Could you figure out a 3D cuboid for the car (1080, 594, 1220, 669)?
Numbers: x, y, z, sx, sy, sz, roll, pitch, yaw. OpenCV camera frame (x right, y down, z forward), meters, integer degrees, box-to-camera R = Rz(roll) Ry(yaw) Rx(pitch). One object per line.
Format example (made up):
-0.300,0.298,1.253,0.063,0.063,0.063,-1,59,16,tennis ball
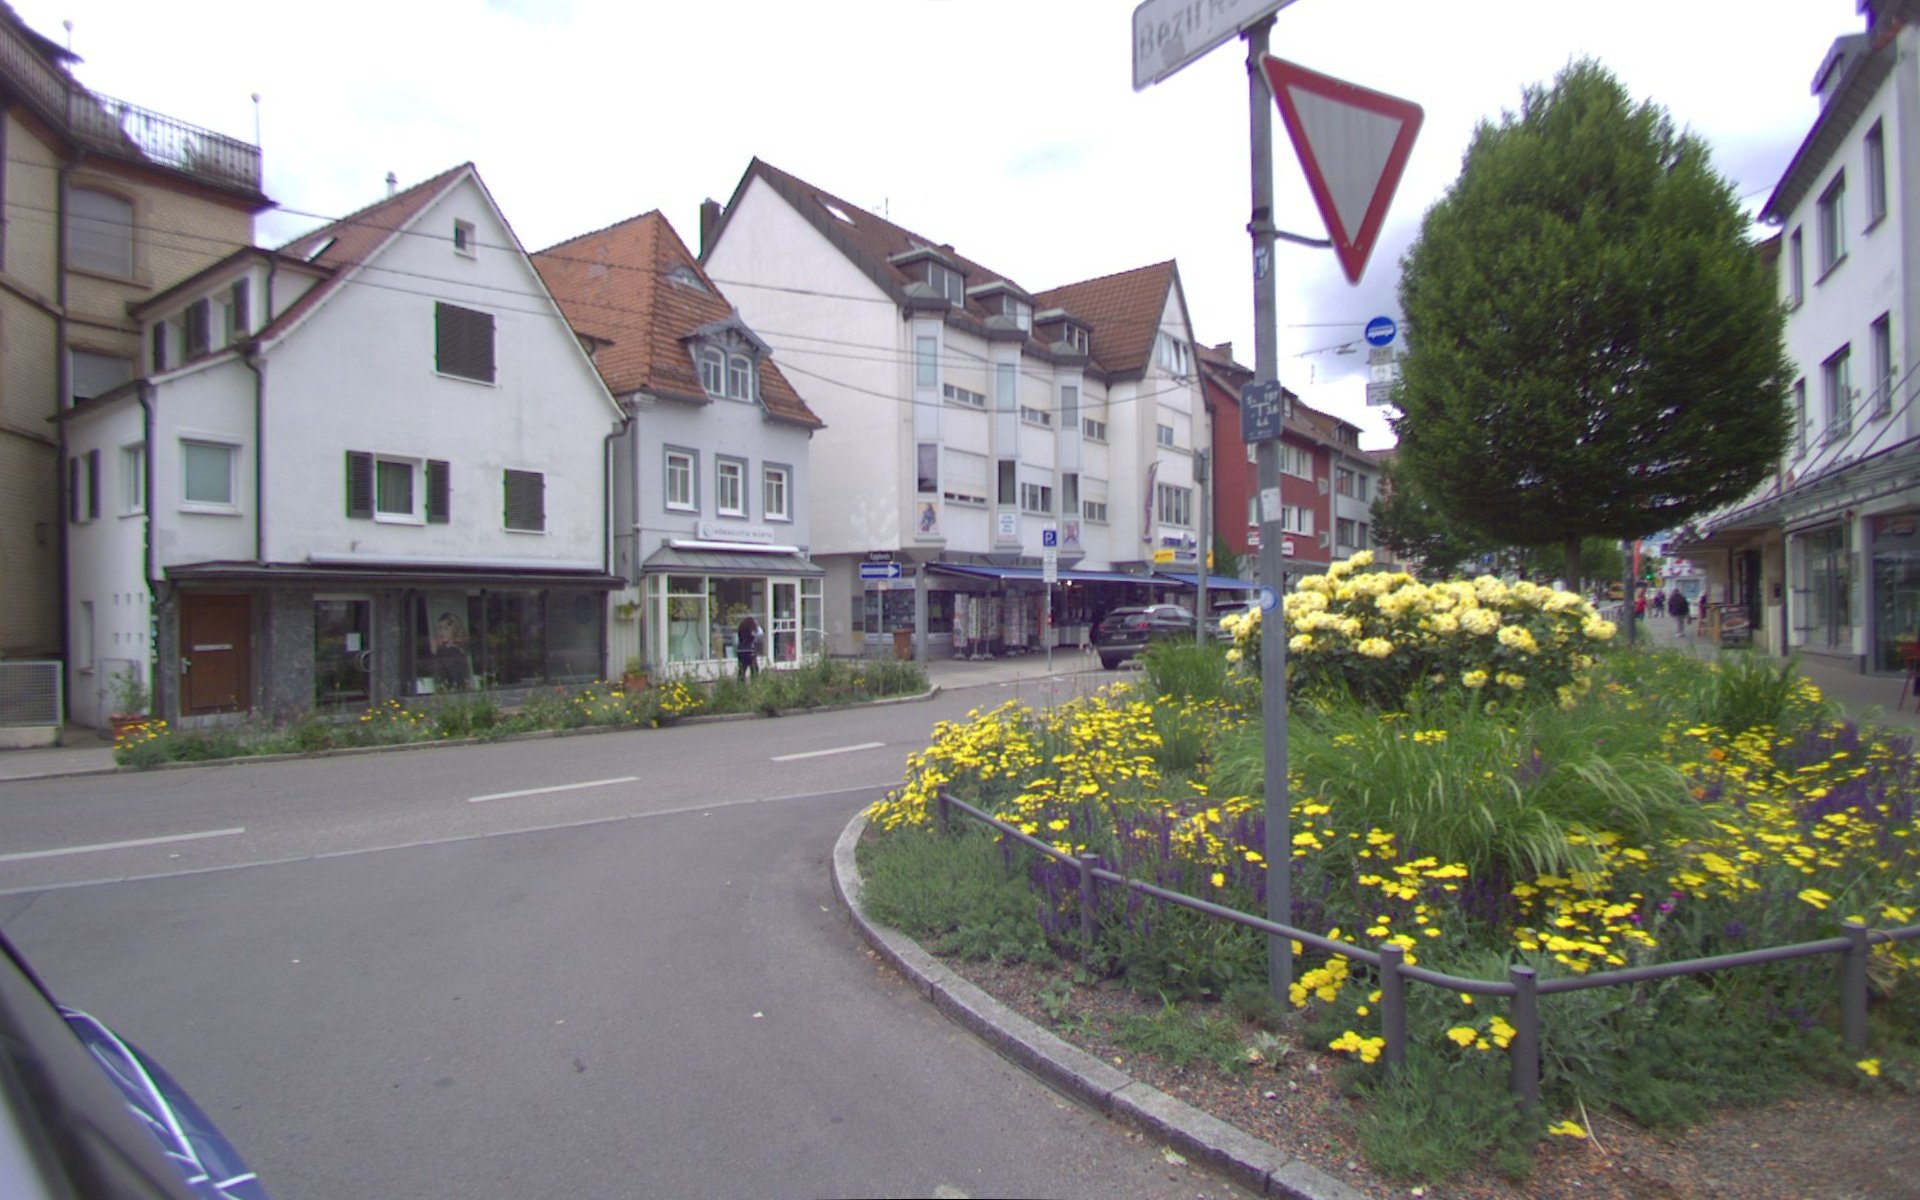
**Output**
5.165,0.813,27.163,1.998,1.868,3.947,-3,-2,40,car

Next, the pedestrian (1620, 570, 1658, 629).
23.978,0.000,35.757,1.027,2.029,0.886,-3,-2,33,pedestrian

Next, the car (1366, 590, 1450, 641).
16.845,0.558,37.929,2.037,1.687,4.322,-3,0,35,car

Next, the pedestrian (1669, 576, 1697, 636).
25.013,0.217,35.017,0.668,2.029,0.628,-3,-2,33,pedestrian

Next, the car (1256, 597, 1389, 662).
9.439,0.727,26.200,1.849,1.445,3.945,-4,-1,41,car

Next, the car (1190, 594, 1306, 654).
9.150,0.742,31.886,1.997,1.745,4.371,-3,-2,38,car

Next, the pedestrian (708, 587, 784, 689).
-4.421,0.779,20.931,1.103,2.029,1.002,-3,-1,33,pedestrian
